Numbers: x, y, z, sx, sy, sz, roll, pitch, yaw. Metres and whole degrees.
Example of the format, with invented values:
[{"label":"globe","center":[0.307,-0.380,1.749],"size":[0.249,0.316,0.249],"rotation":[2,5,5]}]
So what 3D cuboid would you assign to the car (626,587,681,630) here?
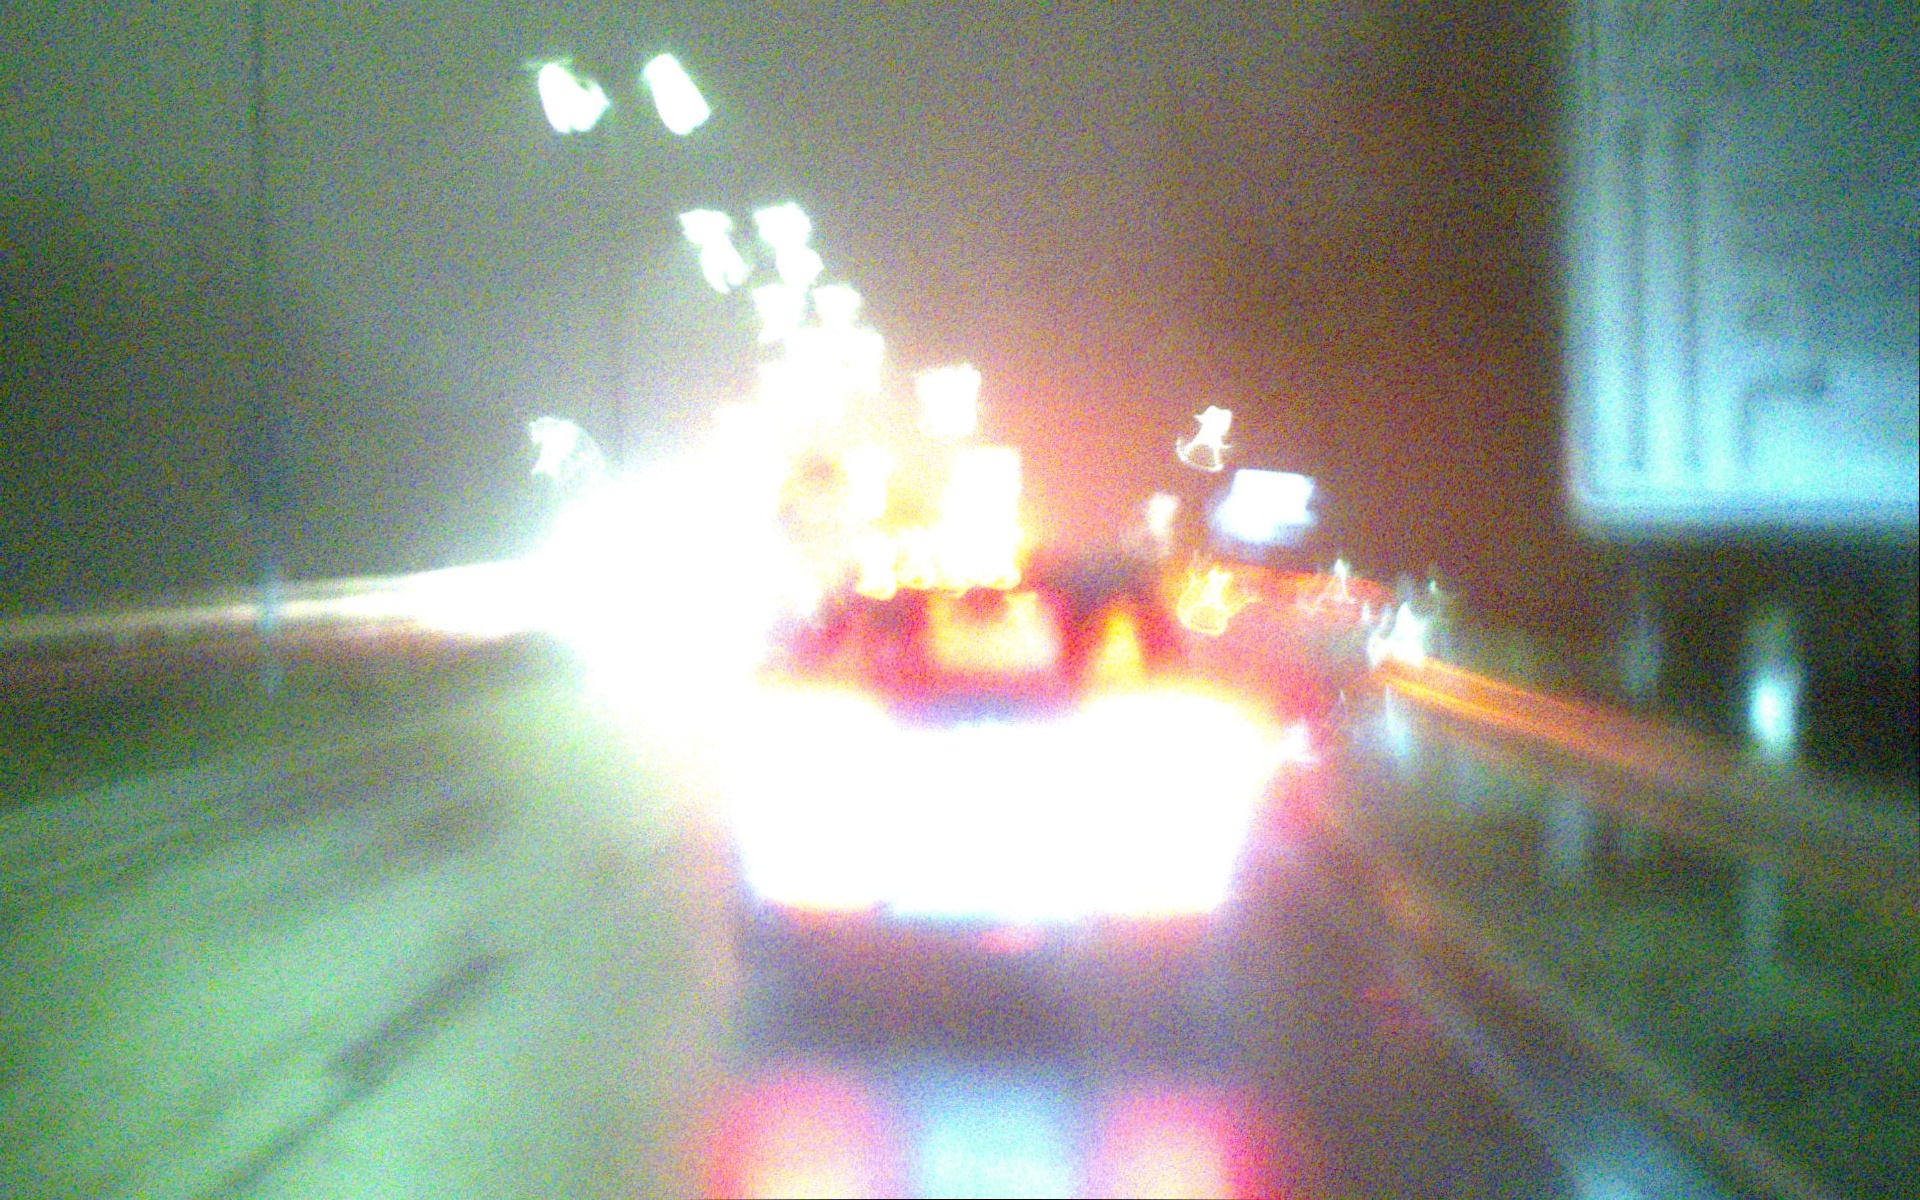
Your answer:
[{"label":"car","center":[-11.583,0.324,130.062],"size":[1.600,1.546,3.833],"rotation":[2,-1,2]}]

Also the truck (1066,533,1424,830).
[{"label":"truck","center":[2.784,0.759,33.904],"size":[3.070,2.520,7.165],"rotation":[2,-1,4]}]

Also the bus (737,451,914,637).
[{"label":"bus","center":[-2.390,-1.031,63.912],"size":[2.744,3.113,9.201],"rotation":[2,1,1]}]

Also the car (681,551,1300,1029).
[{"label":"car","center":[0.174,0.593,12.711],"size":[1.944,1.486,3.715],"rotation":[1,0,3]}]
